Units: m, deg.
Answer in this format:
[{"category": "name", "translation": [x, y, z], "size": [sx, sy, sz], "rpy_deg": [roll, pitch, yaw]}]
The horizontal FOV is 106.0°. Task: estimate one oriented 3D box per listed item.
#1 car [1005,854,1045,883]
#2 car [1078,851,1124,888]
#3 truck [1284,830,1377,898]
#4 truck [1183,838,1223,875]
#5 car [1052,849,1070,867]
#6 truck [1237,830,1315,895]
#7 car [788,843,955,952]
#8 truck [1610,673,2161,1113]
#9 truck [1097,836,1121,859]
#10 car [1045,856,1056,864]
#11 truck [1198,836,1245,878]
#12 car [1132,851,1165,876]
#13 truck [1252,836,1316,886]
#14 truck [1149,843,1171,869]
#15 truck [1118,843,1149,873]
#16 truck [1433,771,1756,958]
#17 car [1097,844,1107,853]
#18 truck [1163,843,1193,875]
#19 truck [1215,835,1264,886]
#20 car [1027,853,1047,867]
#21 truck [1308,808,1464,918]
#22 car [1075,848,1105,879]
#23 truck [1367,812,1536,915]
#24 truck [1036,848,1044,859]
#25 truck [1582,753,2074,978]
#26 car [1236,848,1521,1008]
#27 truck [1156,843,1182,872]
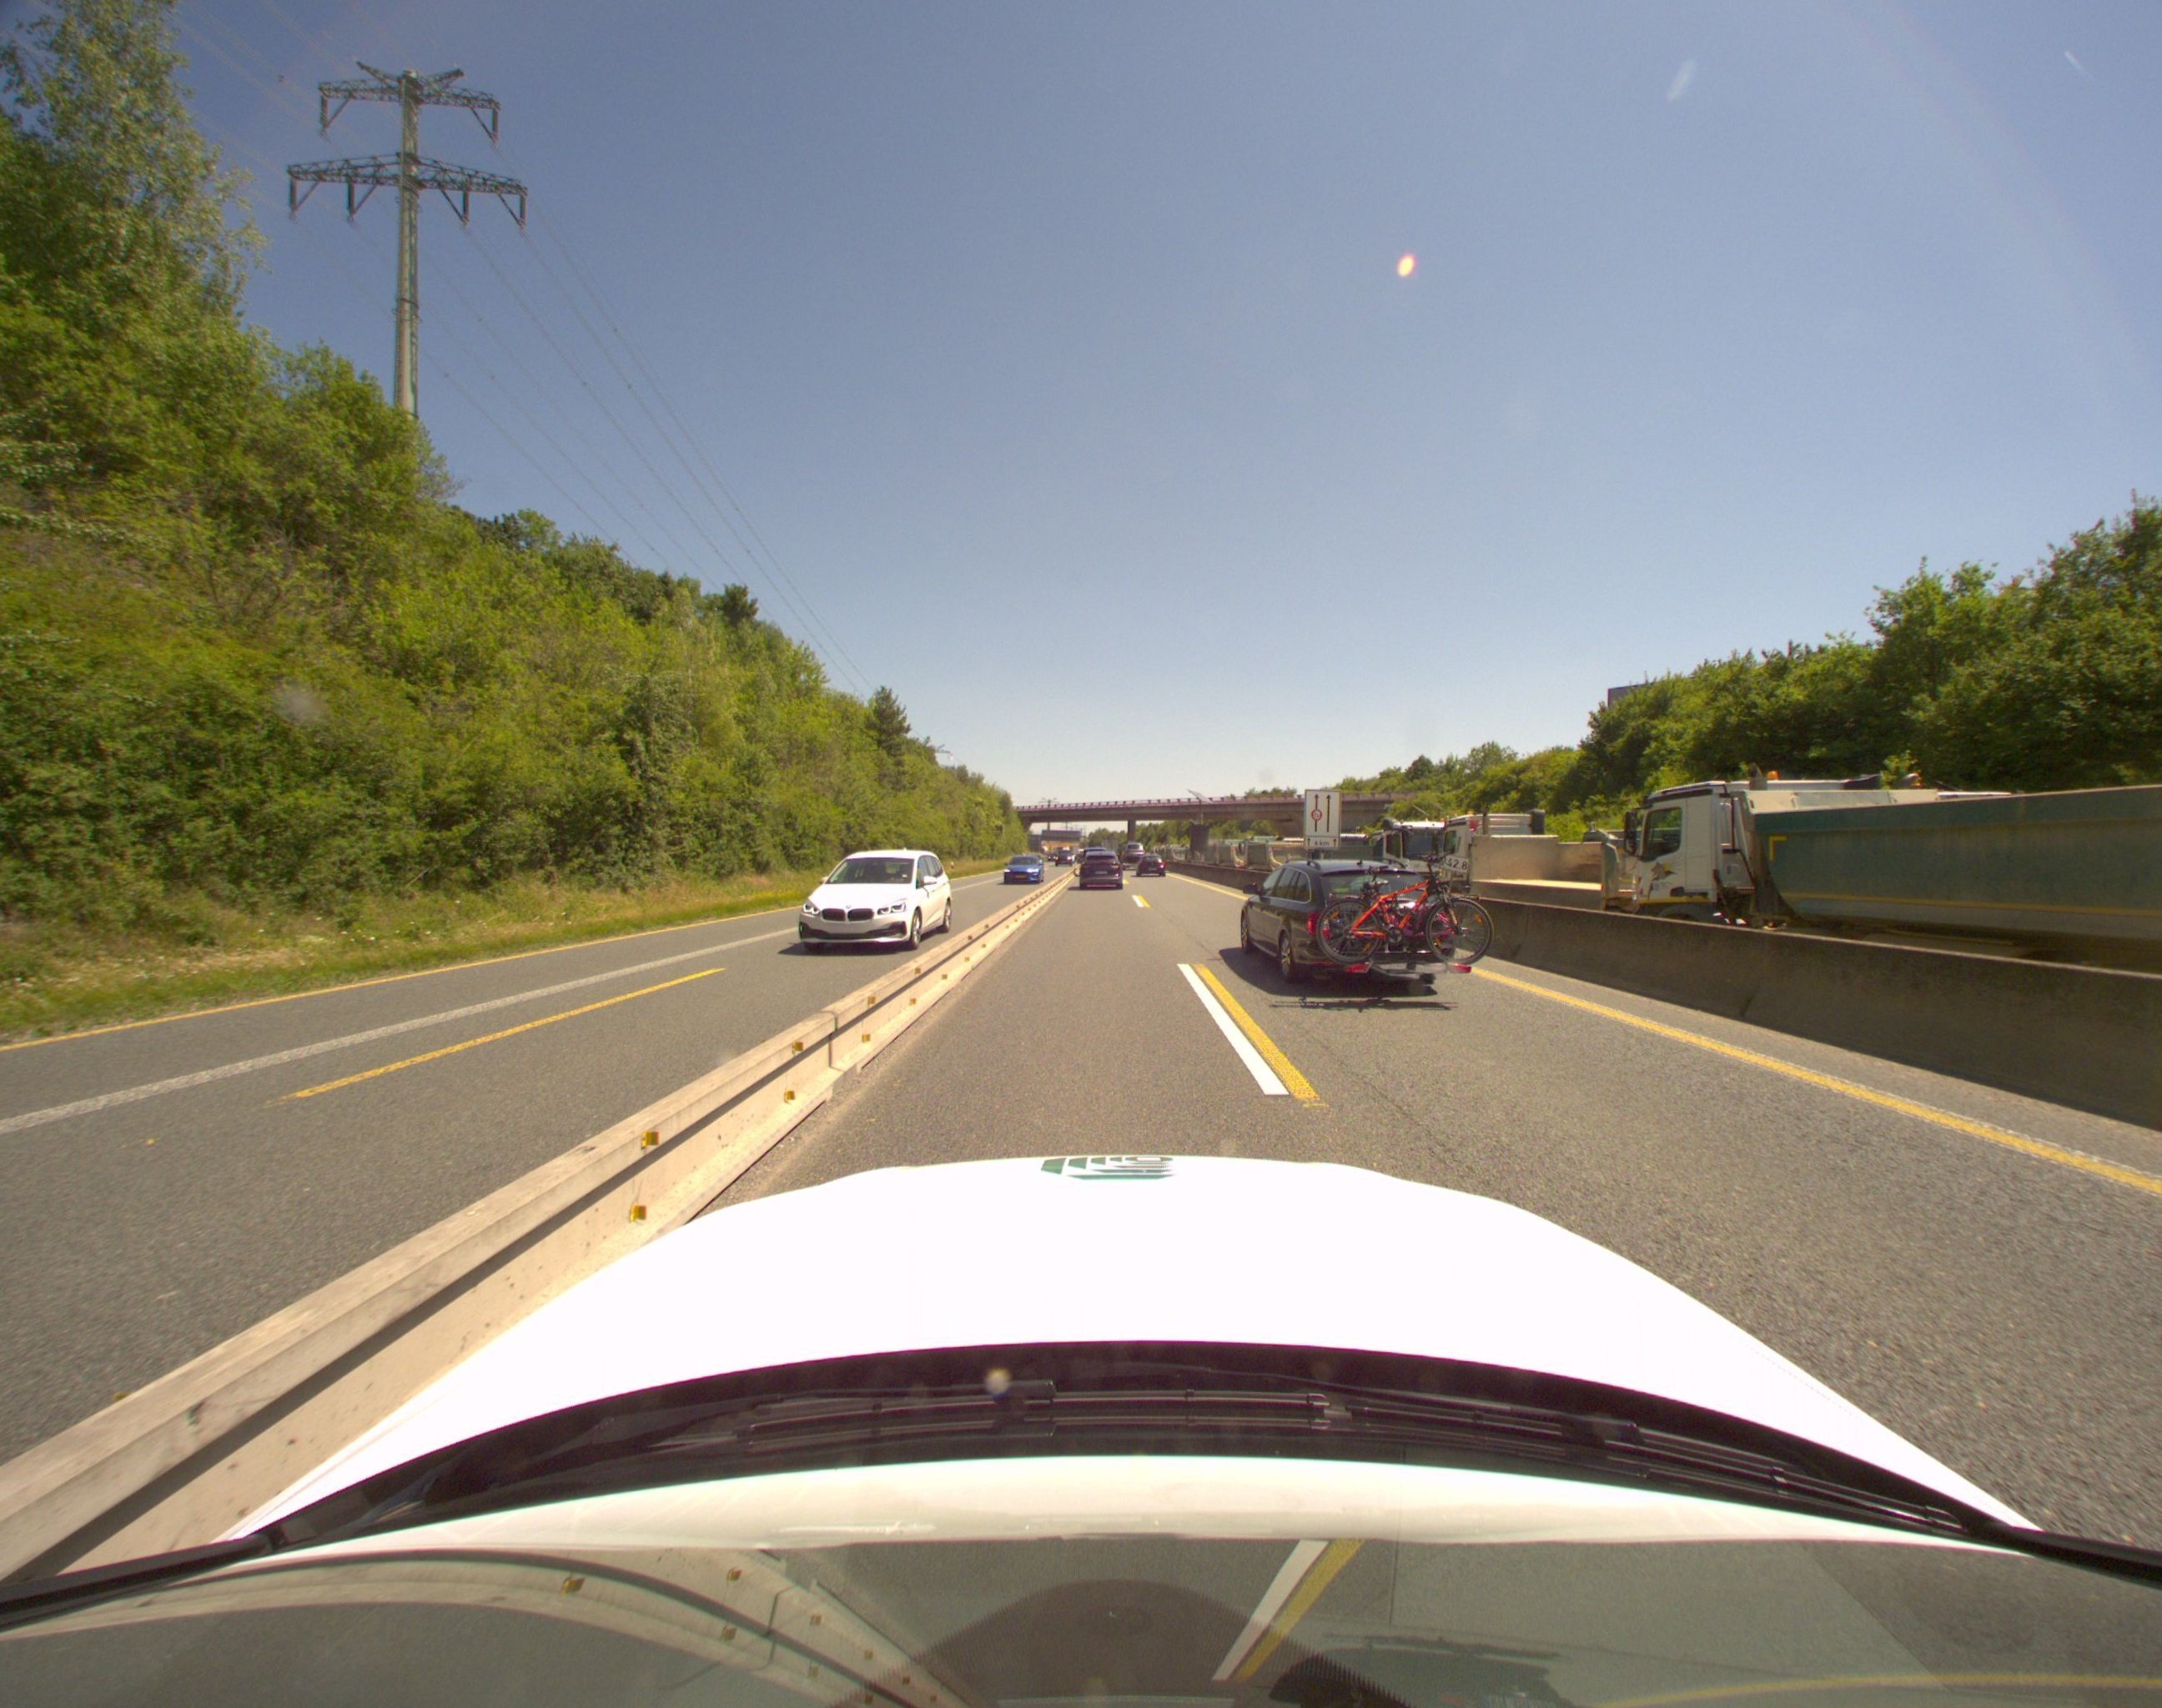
[{"category": "car", "translation": [-2.839, 0.727, 42.002], "size": [1.707, 1.425, 4.170], "rpy_deg": [0, 0, 0]}, {"category": "car", "translation": [0.880, 0.641, 35.389], "size": [1.892, 1.505, 4.278], "rpy_deg": [0, 0, 2]}, {"category": "truck", "translation": [14.264, 0.534, 47.504], "size": [2.678, 3.557, 9.604], "rpy_deg": [0, 0, 1]}, {"category": "truck", "translation": [12.244, 0.243, 82.380], "size": [2.678, 3.557, 9.324], "rpy_deg": [0, 0, 0]}, {"category": "car", "translation": [-2.325, 0.472, 96.397], "size": [1.883, 2.013, 4.819], "rpy_deg": [0, 0, 2]}, {"category": "truck", "translation": [11.621, 0.470, 49.579], "size": [2.677, 3.557, 9.605], "rpy_deg": [0, 0, 1]}, {"category": "car", "translation": [-3.467, 0.670, 14.348], "size": [1.756, 1.632, 4.297], "rpy_deg": [0, 0, 1]}, {"category": "truck", "translation": [9.923, 0.306, 8.903], "size": [2.524, 3.511, 9.098], "rpy_deg": [0, 0, 1]}, {"category": "truck", "translation": [4.892, -1.107, 143.060], "size": [3.286, 3.845, 10.095], "rpy_deg": [0, 0, -4]}, {"category": "car", "translation": [-5.569, 1.085, 148.284], "size": [1.693, 1.565, 3.996], "rpy_deg": [0, 0, 1]}, {"category": "truck", "translation": [12.569, 0.245, 73.404], "size": [2.678, 3.557, 9.324], "rpy_deg": [0, 0, 0]}, {"category": "car", "translation": [4.338, 0.587, 52.988], "size": [1.892, 1.585, 4.278], "rpy_deg": [0, 0, 2]}, {"category": "truck", "translation": [14.710, 0.471, 59.830], "size": [2.677, 3.377, 9.607], "rpy_deg": [0, 0, 2]}, {"category": "truck", "translation": [12.074, 0.221, 125.073], "size": [2.678, 3.843, 9.325], "rpy_deg": [0, 0, 1]}, {"category": "truck", "translation": [4.671, 0.316, 73.519], "size": [2.398, 2.558, 7.499], "rpy_deg": [0, 0, 0]}, {"category": "truck", "translation": [11.597, 0.186, 19.810], "size": [2.523, 3.511, 8.948], "rpy_deg": [0, 0, 2]}, {"category": "car", "translation": [4.511, -1.132, 178.216], "size": [1.894, 1.968, 4.272], "rpy_deg": [0, 0, -2]}, {"category": "truck", "translation": [11.973, 0.610, 101.026], "size": [2.678, 3.761, 9.325], "rpy_deg": [0, 0, 1]}, {"category": "truck", "translation": [11.884, 0.429, 61.837], "size": [2.674, 3.557, 9.419], "rpy_deg": [0, 0, 5]}, {"category": "car", "translation": [-4.954, 0.645, 92.350], "size": [1.786, 1.525, 4.533], "rpy_deg": [0, 0, 2]}, {"category": "truck", "translation": [11.168, 0.279, 31.072], "size": [2.529, 3.557, 9.604], "rpy_deg": [0, 0, 1]}, {"category": "car", "translation": [0.644, 0.618, 55.046], "size": [1.892, 1.968, 4.278], "rpy_deg": [0, 0, 2]}, {"category": "truck", "translation": [14.497, 0.314, 32.966], "size": [2.677, 3.557, 9.605], "rpy_deg": [0, 0, 1]}, {"category": "truck", "translation": [-12.669, -0.226, 250.405], "size": [2.503, 3.186, 10.095], "rpy_deg": [0, 0, -4]}, {"category": "truck", "translation": [14.231, 0.173, 16.900], "size": [2.678, 3.511, 8.381], "rpy_deg": [0, 0, 1]}, {"category": "car", "translation": [3.256, 0.708, 10.117], "size": [1.892, 1.490, 4.949], "rpy_deg": [0, 0, 2]}, {"category": "truck", "translation": [12.020, 0.406, 112.439], "size": [2.678, 3.856, 9.325], "rpy_deg": [0, 0, 1]}]
